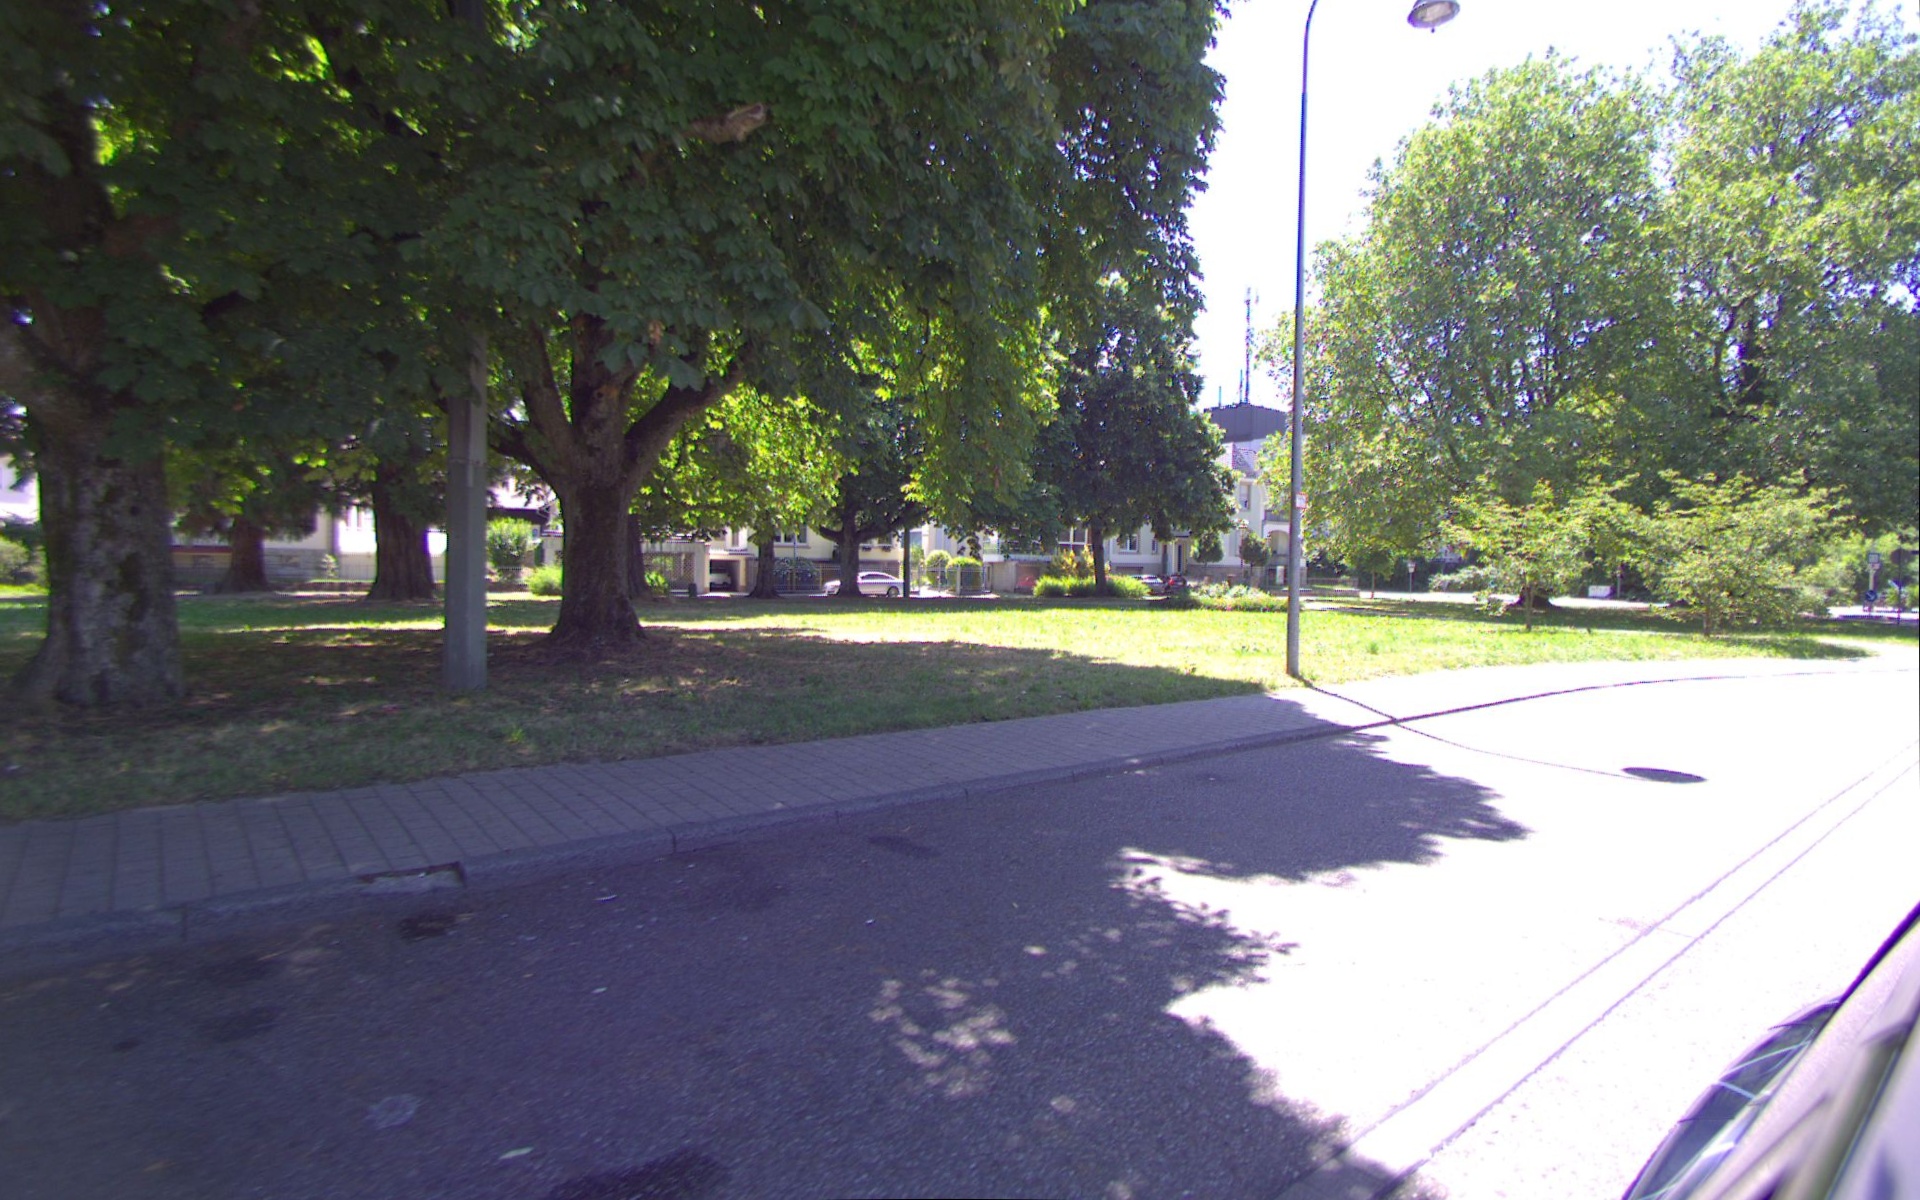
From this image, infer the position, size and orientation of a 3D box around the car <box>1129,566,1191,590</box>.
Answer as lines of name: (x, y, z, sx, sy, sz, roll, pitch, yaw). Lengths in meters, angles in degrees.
car: (14.138, -1.551, 71.730, 1.962, 1.587, 4.001, 0, 2, -35)

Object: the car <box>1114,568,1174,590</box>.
car: (12.635, -1.457, 69.830, 1.960, 1.408, 4.006, 0, 2, -29)

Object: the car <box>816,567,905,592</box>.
car: (-5.487, -1.142, 55.766, 4.618, 1.303, 1.674, -1, 3, -25)
